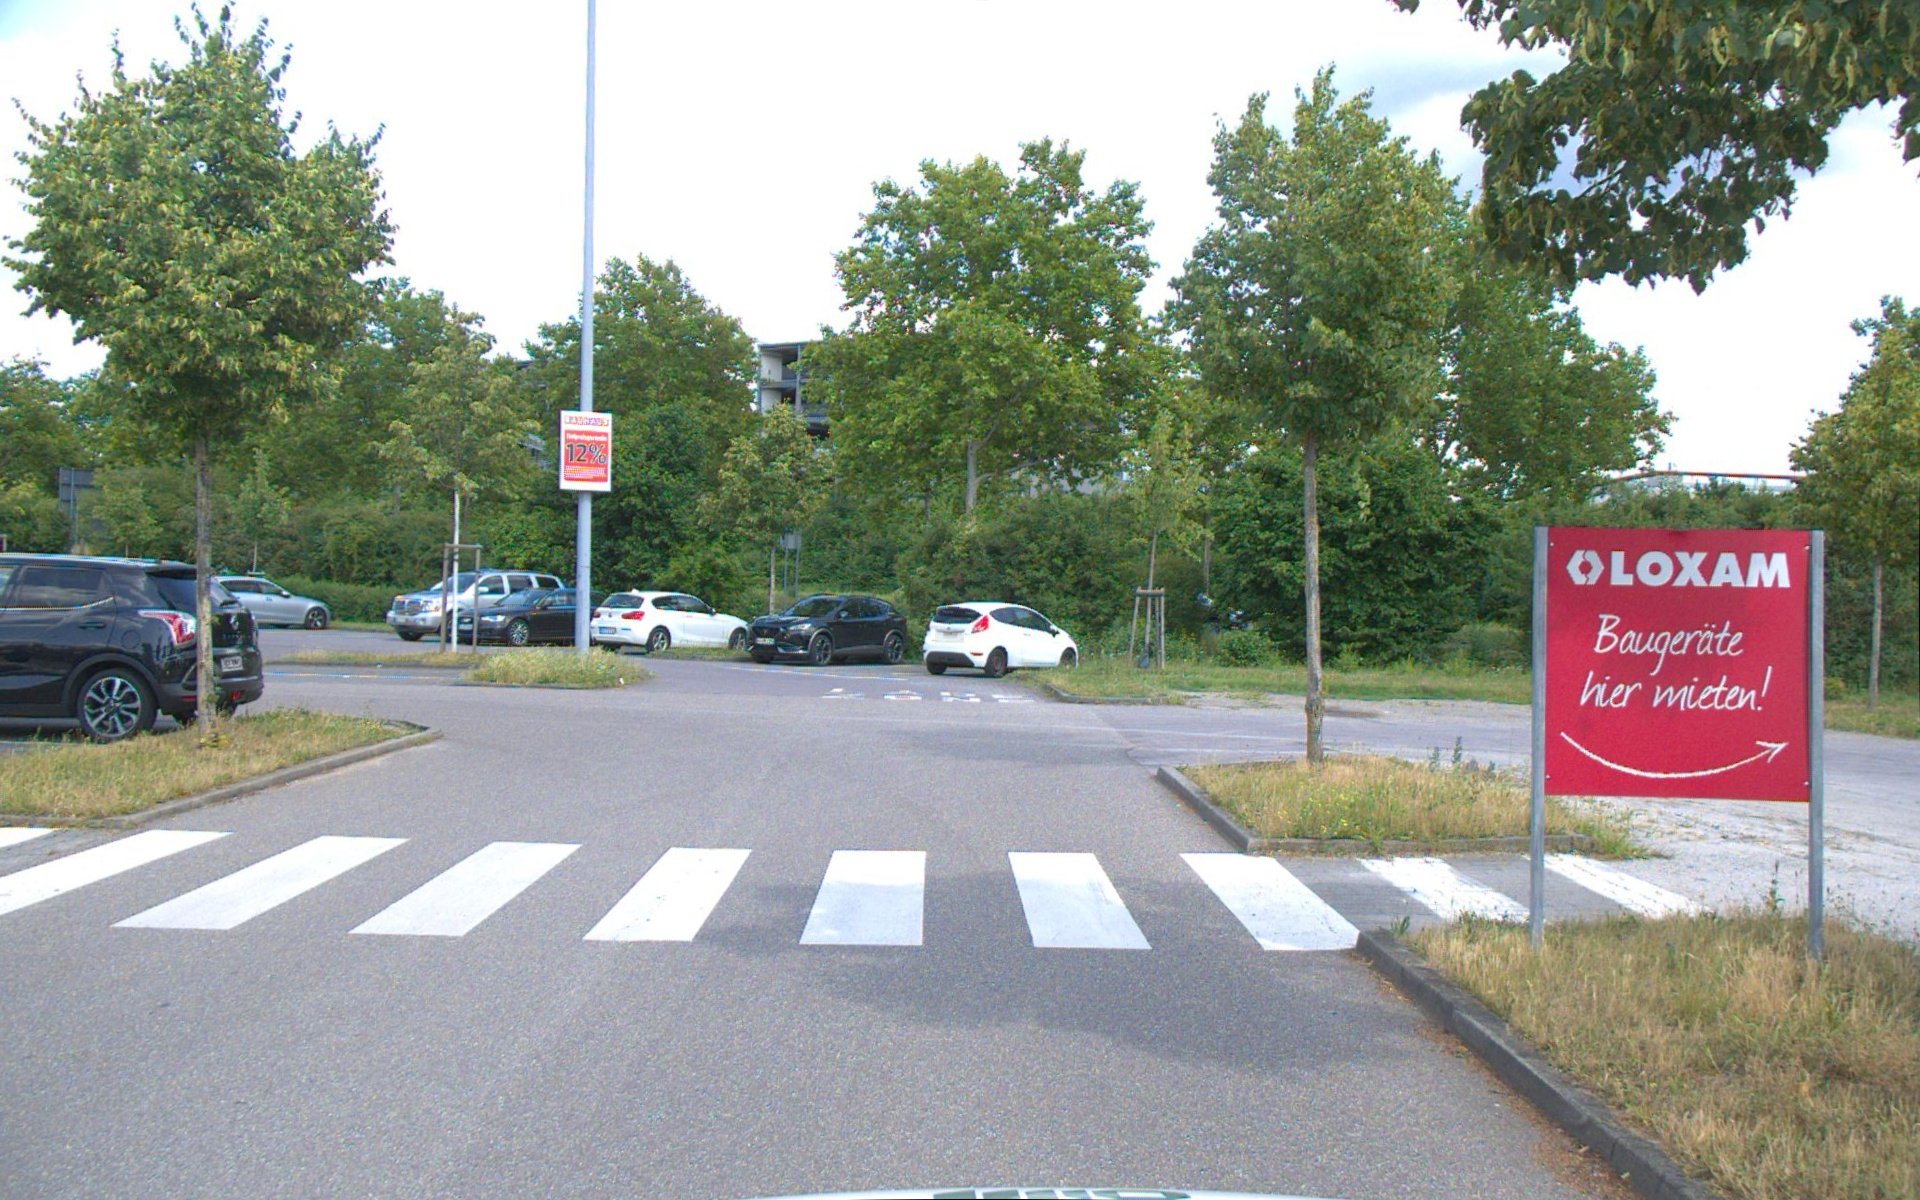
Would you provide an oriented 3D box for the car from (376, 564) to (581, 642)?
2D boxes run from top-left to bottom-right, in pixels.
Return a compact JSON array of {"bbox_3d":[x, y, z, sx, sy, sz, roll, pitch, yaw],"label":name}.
[{"bbox_3d":[-12.456,0.081,43.120,1.948,1.875,5.135,2,0,32],"label":"car"}]

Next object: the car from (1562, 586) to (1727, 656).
[{"bbox_3d":[18.732,0.545,45.283,3.915,1.745,1.995,2,0,31],"label":"car"}]

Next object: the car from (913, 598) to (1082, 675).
[{"bbox_3d":[0.801,0.718,33.601,1.638,1.436,3.541,2,0,38],"label":"car"}]

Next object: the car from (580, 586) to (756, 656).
[{"bbox_3d":[-6.794,0.487,38.854,1.656,1.536,4.066,1,0,36],"label":"car"}]

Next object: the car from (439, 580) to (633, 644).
[{"bbox_3d":[-10.593,0.312,41.652,1.802,1.476,4.709,2,0,34],"label":"car"}]

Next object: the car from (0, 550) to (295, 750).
[{"bbox_3d":[-8.335,0.387,14.980,3.869,1.653,1.736,2,0,1],"label":"car"}]

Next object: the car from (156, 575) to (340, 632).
[{"bbox_3d":[-20.308,0.108,47.367,1.747,1.531,4.642,2,0,32],"label":"car"}]

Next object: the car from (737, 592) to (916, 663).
[{"bbox_3d":[-2.875,0.590,36.498,1.697,1.435,4.230,2,0,33],"label":"car"}]
